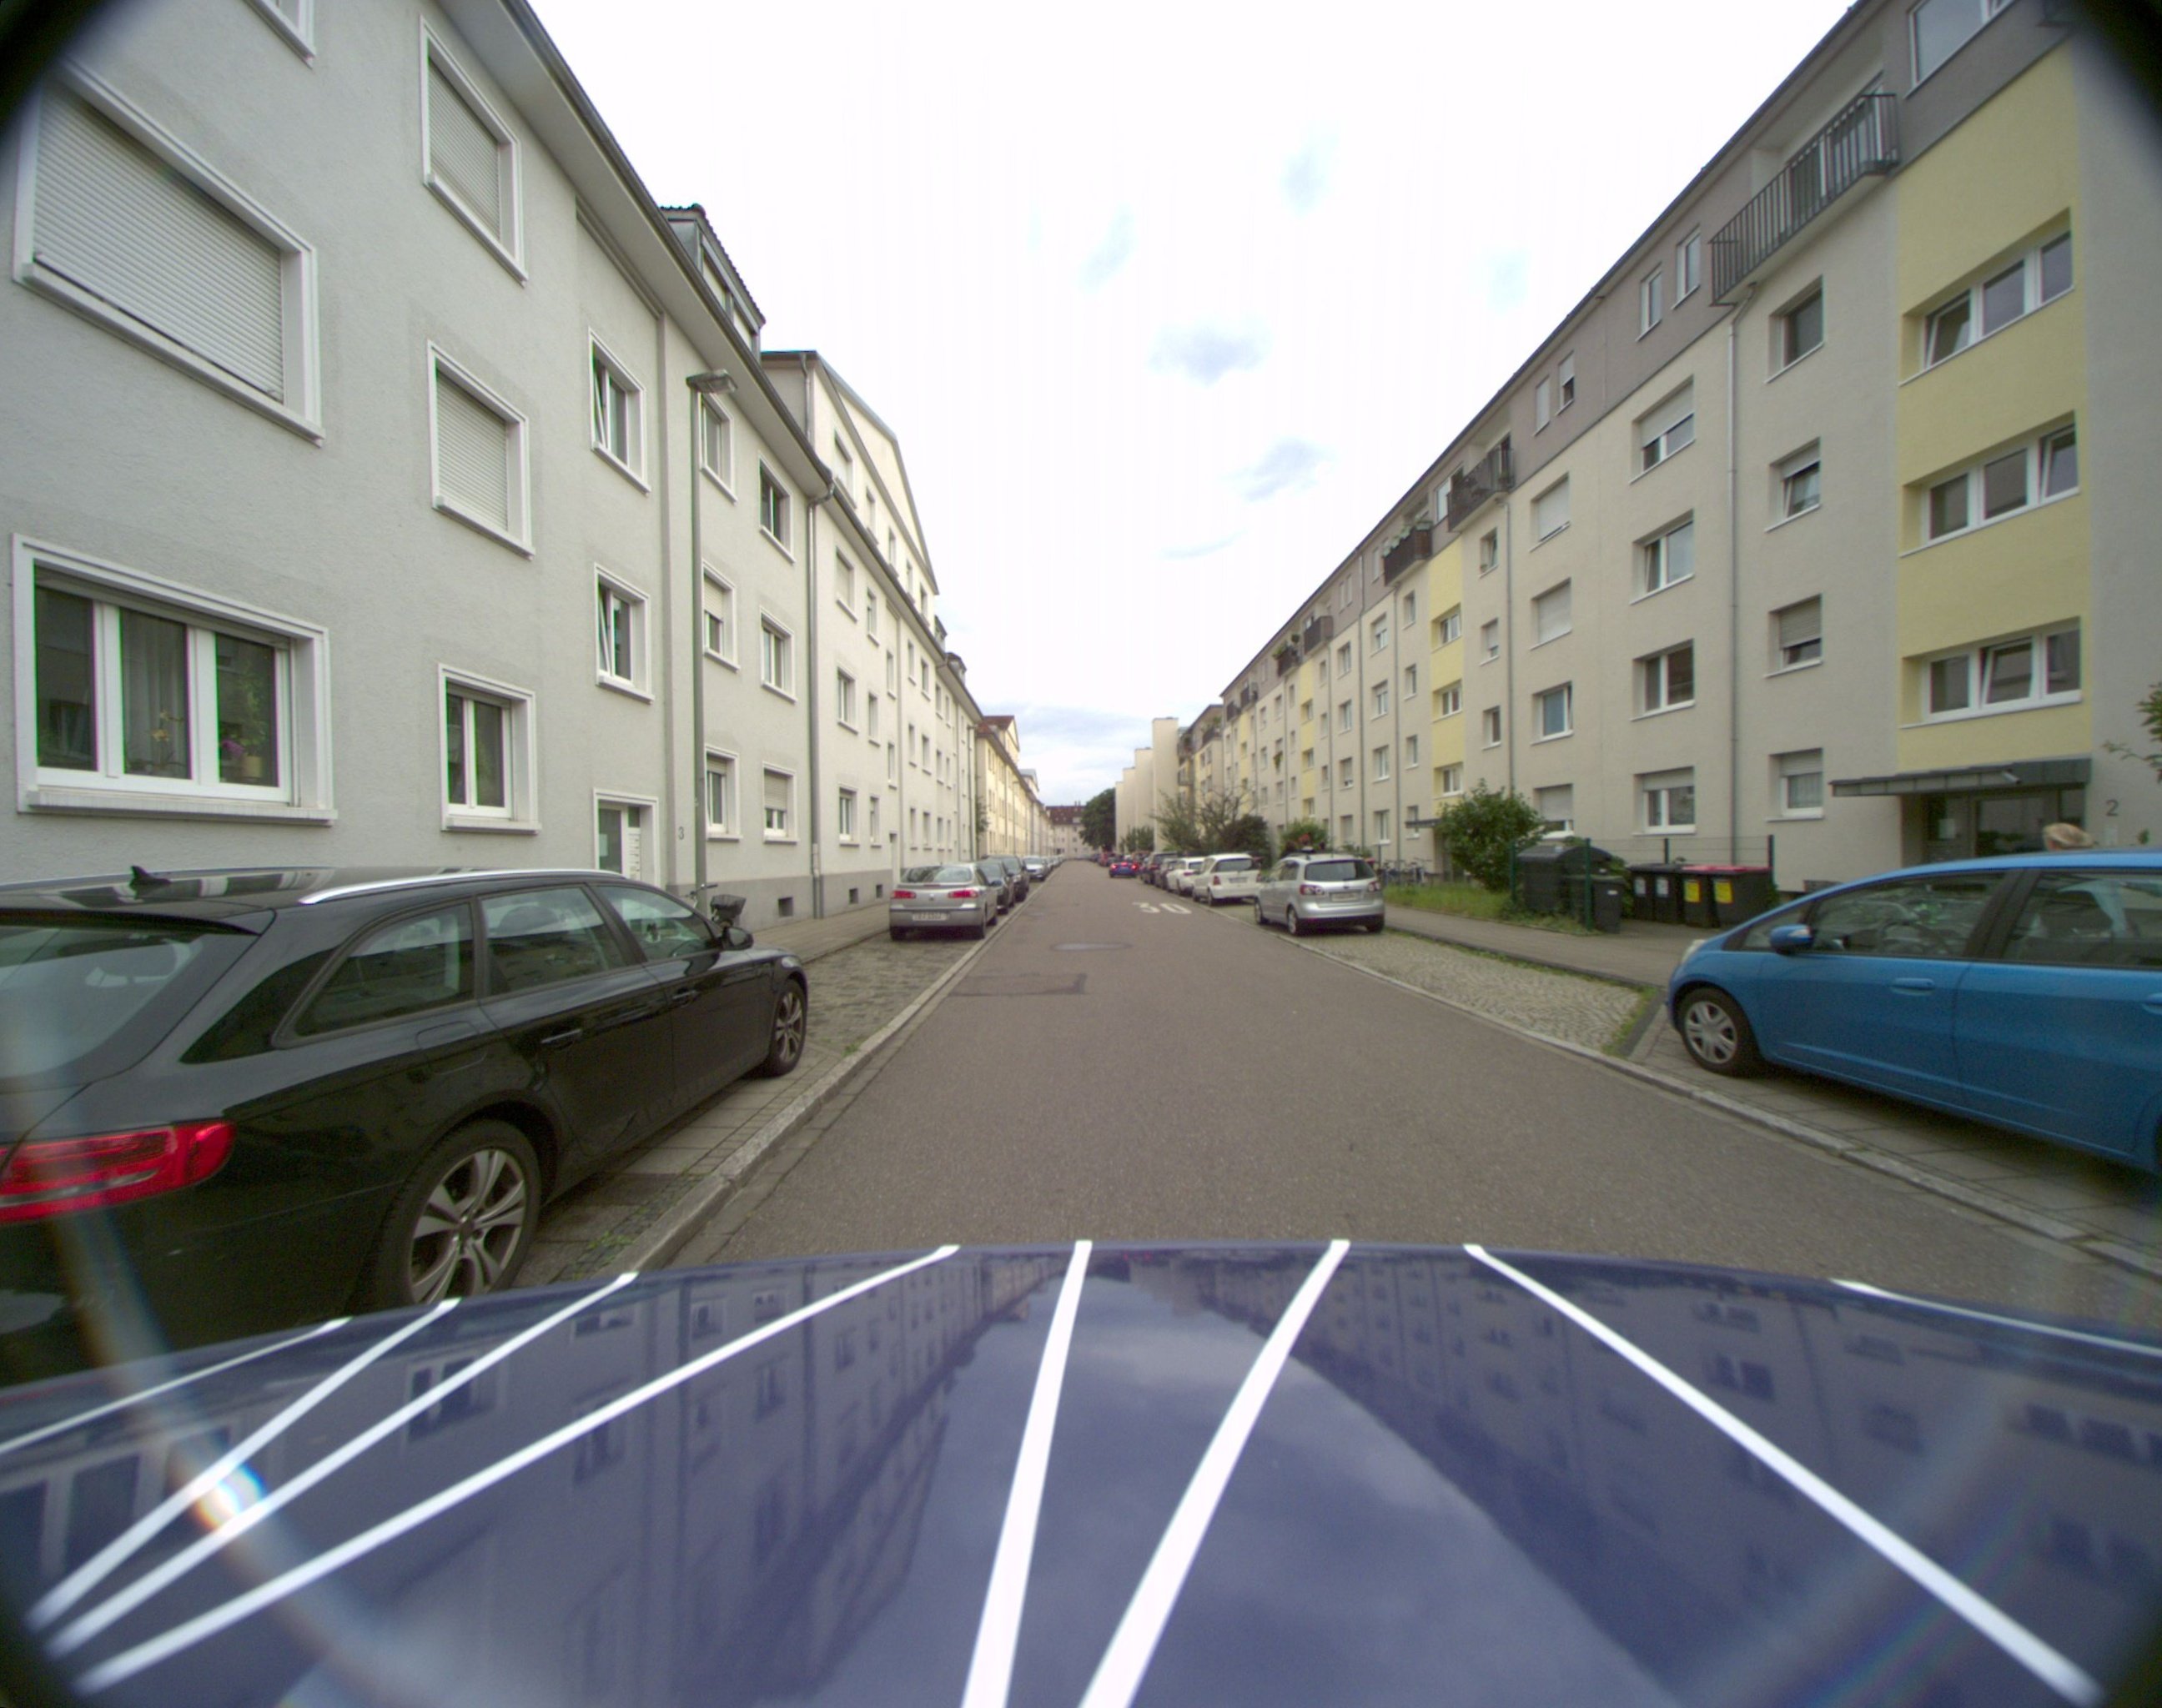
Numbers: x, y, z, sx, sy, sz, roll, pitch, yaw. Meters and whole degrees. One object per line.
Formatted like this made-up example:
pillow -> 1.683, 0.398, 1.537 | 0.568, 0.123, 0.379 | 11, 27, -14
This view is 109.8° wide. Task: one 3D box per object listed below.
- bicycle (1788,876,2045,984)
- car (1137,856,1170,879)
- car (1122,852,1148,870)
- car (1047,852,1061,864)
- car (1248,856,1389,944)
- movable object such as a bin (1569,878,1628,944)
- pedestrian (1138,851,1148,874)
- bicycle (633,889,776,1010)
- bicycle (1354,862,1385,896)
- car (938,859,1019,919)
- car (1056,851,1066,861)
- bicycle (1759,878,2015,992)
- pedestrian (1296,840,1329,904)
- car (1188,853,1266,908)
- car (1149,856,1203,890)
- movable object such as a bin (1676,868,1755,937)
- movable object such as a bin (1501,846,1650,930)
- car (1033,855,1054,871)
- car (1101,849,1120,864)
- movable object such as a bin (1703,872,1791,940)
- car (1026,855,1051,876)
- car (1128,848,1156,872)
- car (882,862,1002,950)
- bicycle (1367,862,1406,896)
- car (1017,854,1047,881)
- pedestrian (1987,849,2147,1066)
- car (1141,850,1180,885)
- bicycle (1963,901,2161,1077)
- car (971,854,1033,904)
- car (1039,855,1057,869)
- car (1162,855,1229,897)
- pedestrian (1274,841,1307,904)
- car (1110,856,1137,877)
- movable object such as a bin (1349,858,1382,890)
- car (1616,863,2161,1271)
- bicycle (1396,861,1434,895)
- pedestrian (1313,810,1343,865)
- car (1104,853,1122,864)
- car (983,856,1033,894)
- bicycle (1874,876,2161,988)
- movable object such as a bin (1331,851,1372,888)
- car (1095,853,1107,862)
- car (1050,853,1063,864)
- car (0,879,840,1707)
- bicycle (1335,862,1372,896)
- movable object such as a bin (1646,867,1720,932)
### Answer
bicycle -> 9.738, 0.823, 9.020 | 0.659, 1.064, 2.175 | -1, 0, 0
car -> 4.575, 0.852, 48.484 | 1.575, 1.389, 3.541 | -1, 0, -3
car -> 4.609, 0.613, 65.226 | 1.707, 1.436, 3.541 | -1, 0, -3
car -> -3.335, 0.475, 94.504 | 1.737, 1.443, 4.217 | 0, 0, -2
car -> 4.791, 0.851, 15.899 | 1.658, 1.541, 3.915 | -2, 0, 0
movable object such as a bin -> 8.487, 0.919, 12.482 | 0.538, 1.027, 0.598 | -1, 0, -2
pedestrian -> 4.409, 0.592, 54.227 | 0.603, 1.657, 0.622 | -1, 1, -3
bicycle -> -4.403, 1.063, 9.062 | 0.750, 1.193, 1.895 | 1, 0, 0
bicycle -> 9.138, 0.778, 24.101 | 0.357, 1.018, 1.497 | -1, 0, -1
car -> -2.737, 0.894, 21.157 | 1.786, 1.454, 4.322 | 0, 0, -2
car -> -3.494, 0.317, 133.322 | 1.737, 1.670, 3.591 | 0, 0, -2
bicycle -> 8.975, 0.842, 8.629 | 0.659, 1.062, 2.122 | -1, 0, 0
pedestrian -> 6.864, 0.519, 22.545 | 0.708, 1.843, 0.763 | -1, 1, -1
car -> 4.685, 0.798, 24.859 | 1.690, 1.629, 3.726 | -1, 0, -2
car -> 4.368, 0.827, 35.642 | 1.730, 1.445, 4.481 | -1, 0, -3
movable object such as a bin -> 10.755, 0.810, 12.902 | 0.844, 1.110, 0.598 | -1, 0, -3
movable object such as a bin -> 8.945, 0.586, 13.860 | 1.593, 1.412, 1.671 | -1, 0, -1
car -> -3.291, 0.759, 67.617 | 1.737, 1.402, 4.217 | 0, 0, -2
car -> 4.021, 0.314, 105.421 | 2.188, 2.019, 4.422 | -1, 0, -3
movable object such as a bin -> 10.714, 0.823, 12.247 | 0.866, 1.045, 0.634 | -1, 0, -2
car -> -3.115, 0.825, 56.377 | 1.737, 1.418, 4.217 | 0, 0, -1
car -> 4.699, 0.467, 59.038 | 1.707, 1.795, 3.541 | -1, 0, -3
car -> -2.628, 0.917, 15.328 | 1.737, 1.454, 4.429 | 0, 0, -2
bicycle -> 9.636, 0.764, 24.023 | 0.479, 1.018, 1.754 | -1, 0, -1
car -> -3.012, 0.809, 47.464 | 1.737, 1.538, 3.676 | 0, 1, -2
pedestrian -> 7.353, 0.741, 5.688 | 0.447, 1.540, 0.568 | -1, 0, 4
car -> 4.313, 0.727, 41.670 | 1.575, 1.769, 4.451 | -1, 0, -1
bicycle -> 7.601, 0.950, 5.445 | 0.537, 1.113, 1.819 | -1, 0, 4
car -> -2.693, 0.822, 26.628 | 1.853, 1.589, 4.159 | 0, 0, -2
car -> -3.216, 0.756, 75.328 | 1.737, 1.363, 4.217 | 0, 0, -2
car -> 4.498, 0.833, 30.461 | 1.723, 1.501, 4.686 | -1, 0, -3
pedestrian -> 6.355, 0.558, 23.132 | 0.642, 1.853, 0.974 | -3, 0, -1
car -> 2.989, 0.829, 53.678 | 1.680, 1.307, 3.907 | -1, 1, 0
movable object such as a bin -> 10.548, 0.734, 28.207 | 0.871, 1.103, 0.787 | -2, 2, -5
car -> 4.999, 0.840, 3.835 | 1.735, 1.454, 3.956 | -3, 0, 0
bicycle -> 10.523, 0.739, 24.007 | 0.421, 1.018, 1.558 | -1, 0, -4
pedestrian -> 7.499, -0.493, 23.109 | 0.616, 1.647, 0.803 | -1, 0, -1
car -> 4.135, 0.561, 99.188 | 2.013, 1.436, 4.196 | -1, 0, -3
car -> -2.982, 0.827, 31.684 | 1.737, 1.478, 3.756 | 0, 0, -1
bicycle -> 10.561, 0.812, 8.715 | 0.659, 1.064, 2.175 | -1, 0, 0
movable object such as a bin -> 10.398, 0.584, 29.270 | 1.060, 1.367, 1.188 | -2, 2, -5
car -> 3.728, 0.670, 142.614 | 1.746, 1.534, 3.636 | -1, 0, -7
car -> -3.388, 0.632, 104.297 | 1.737, 1.443, 4.217 | 0, 0, -2
car -> -2.765, 0.925, 3.620 | 1.865, 1.454, 4.724 | 0, 0, -2
bicycle -> 8.657, 0.768, 24.200 | 0.489, 1.018, 1.878 | -1, 0, 0
movable object such as a bin -> 10.727, 0.796, 13.565 | 0.844, 1.110, 0.598 | -1, 0, -3
